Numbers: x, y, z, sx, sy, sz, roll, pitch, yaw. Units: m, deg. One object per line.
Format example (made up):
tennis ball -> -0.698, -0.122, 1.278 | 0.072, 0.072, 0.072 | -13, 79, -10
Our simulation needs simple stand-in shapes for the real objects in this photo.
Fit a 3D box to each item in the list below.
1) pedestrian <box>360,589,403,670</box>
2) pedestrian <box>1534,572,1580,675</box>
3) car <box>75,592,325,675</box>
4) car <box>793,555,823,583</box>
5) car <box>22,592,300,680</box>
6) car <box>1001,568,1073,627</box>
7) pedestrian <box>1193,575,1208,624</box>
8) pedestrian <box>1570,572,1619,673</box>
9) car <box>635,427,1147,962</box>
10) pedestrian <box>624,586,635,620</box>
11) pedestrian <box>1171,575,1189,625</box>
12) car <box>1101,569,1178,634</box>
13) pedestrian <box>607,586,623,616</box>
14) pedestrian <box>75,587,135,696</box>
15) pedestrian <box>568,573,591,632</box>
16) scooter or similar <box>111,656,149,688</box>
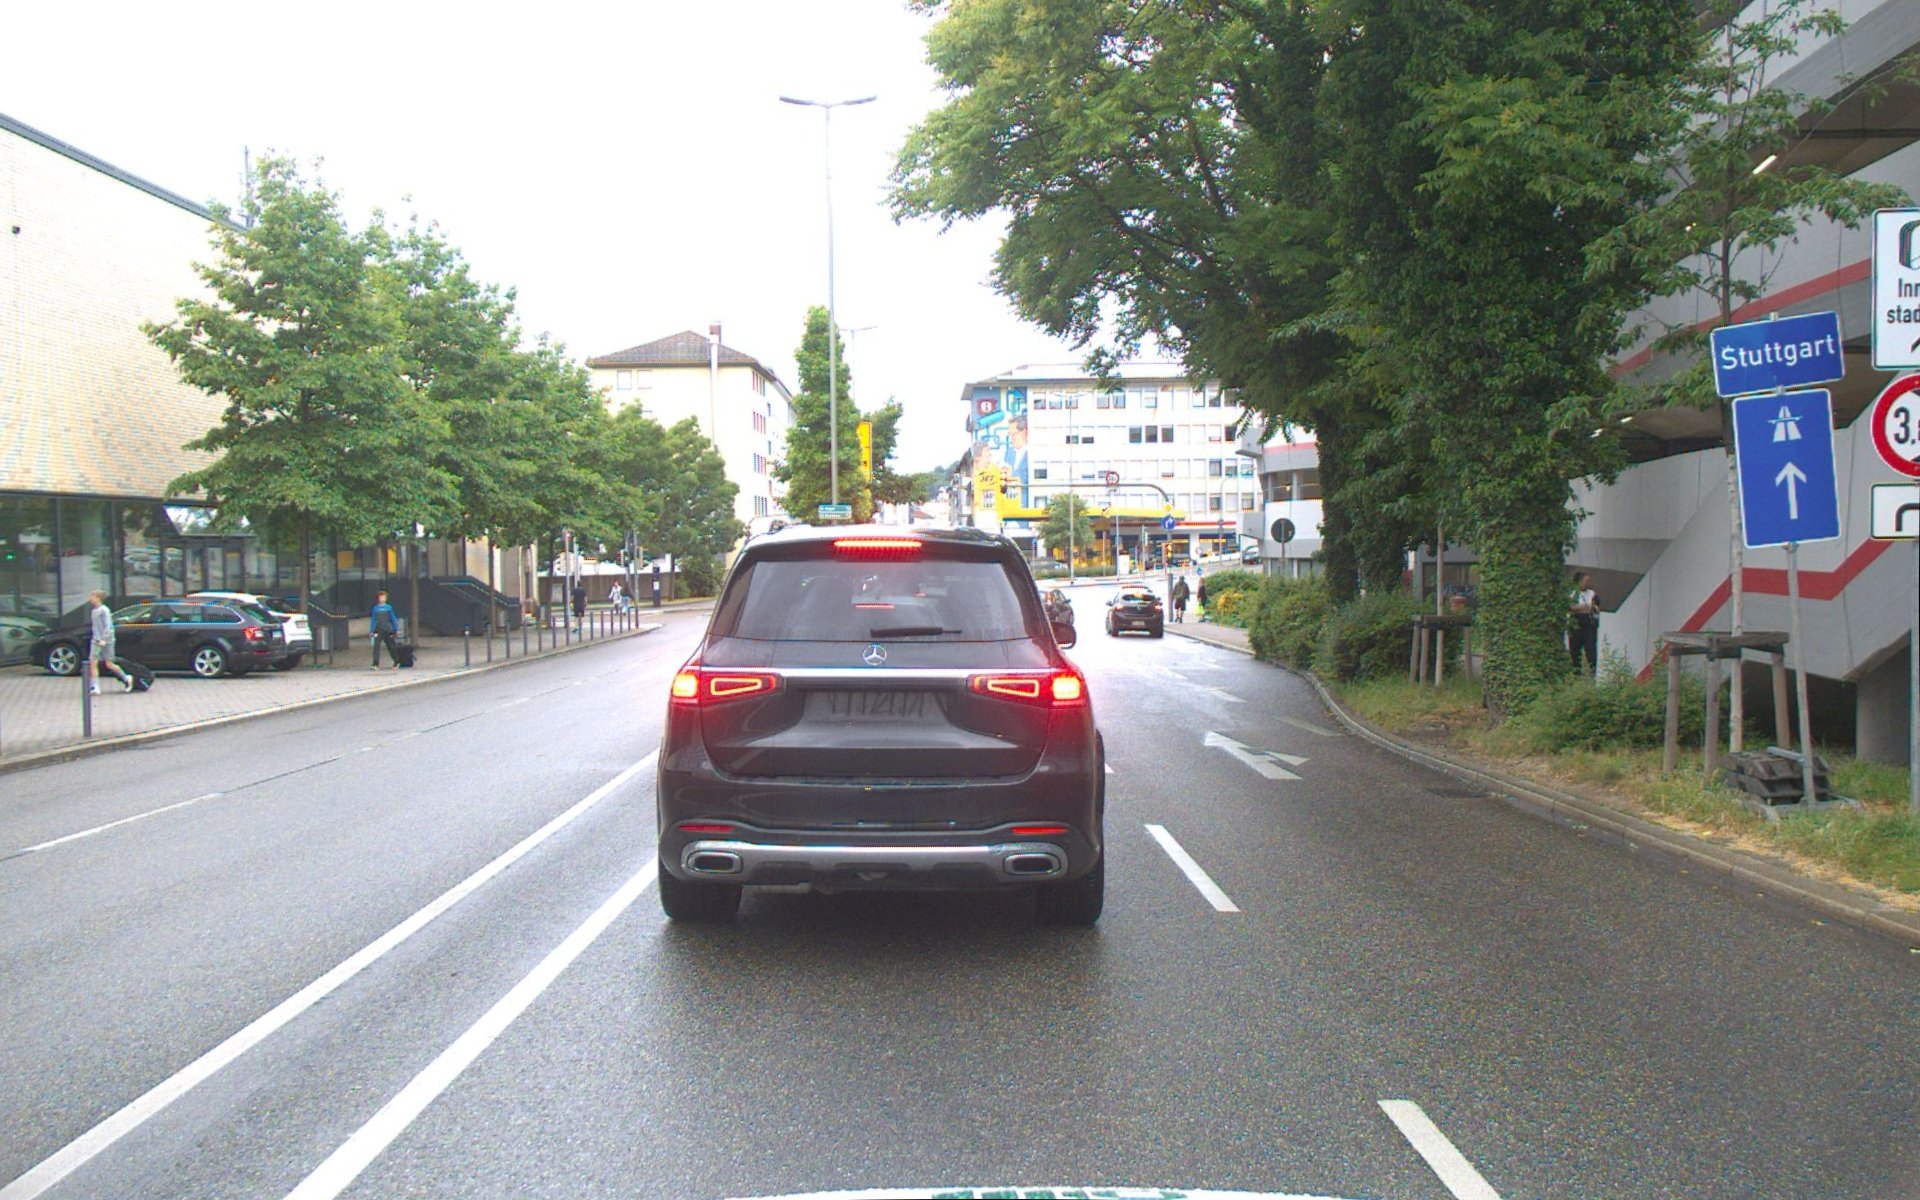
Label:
pedestrian -> -12.769, 0.645, 36.496 | 0.675, 1.755, 0.754 | 1, 1, -2
pedestrian -> 9.164, 0.354, 25.387 | 0.539, 1.559, 0.488 | 1, -1, 5
car -> -15.836, 0.683, 34.678 | 4.331, 1.601, 1.998 | 1, 2, -6
car -> -11.114, -2.278, 121.387 | 1.954, 1.908, 5.139 | 1, 0, -3
car -> -15.260, 0.672, 31.824 | 4.383, 1.615, 1.997 | 0, 0, -8
car -> 2.790, -0.087, 60.732 | 1.956, 2.049, 3.994 | 1, 0, -7
pedestrian -> 9.526, -0.020, 65.524 | 0.509, 1.944, 0.556 | 1, -1, -1
pedestrian -> 9.733, 0.345, 25.383 | 0.569, 1.528, 0.504 | 1, -1, 4
car -> -0.335, 0.385, 8.435 | 1.953, 2.049, 3.998 | 1, 0, -2
pedestrian -> -16.035, 0.147, 80.274 | 0.391, 1.673, 0.567 | 1, -1, -1
pedestrian -> 8.719, -0.006, 65.646 | 0.607, 1.969, 0.610 | 1, -1, 2
car -> 5.885, 0.025, 54.640 | 1.954, 2.049, 3.998 | 0, 1, -3
pedestrian -> -17.156, 0.039, 82.268 | 0.697, 1.487, 0.598 | 1, -1, -2
pedestrian -> -13.733, 0.659, 26.574 | 0.662, 1.727, 0.479 | 1, -1, -1
pedestrian -> -13.418, 0.084, 58.303 | 0.576, 2.049, 0.749 | 2, 0, -3
scooter or similar -> -13.559, 1.171, 27.023 | 0.274, 0.509, 0.616 | 1, -2, 2
